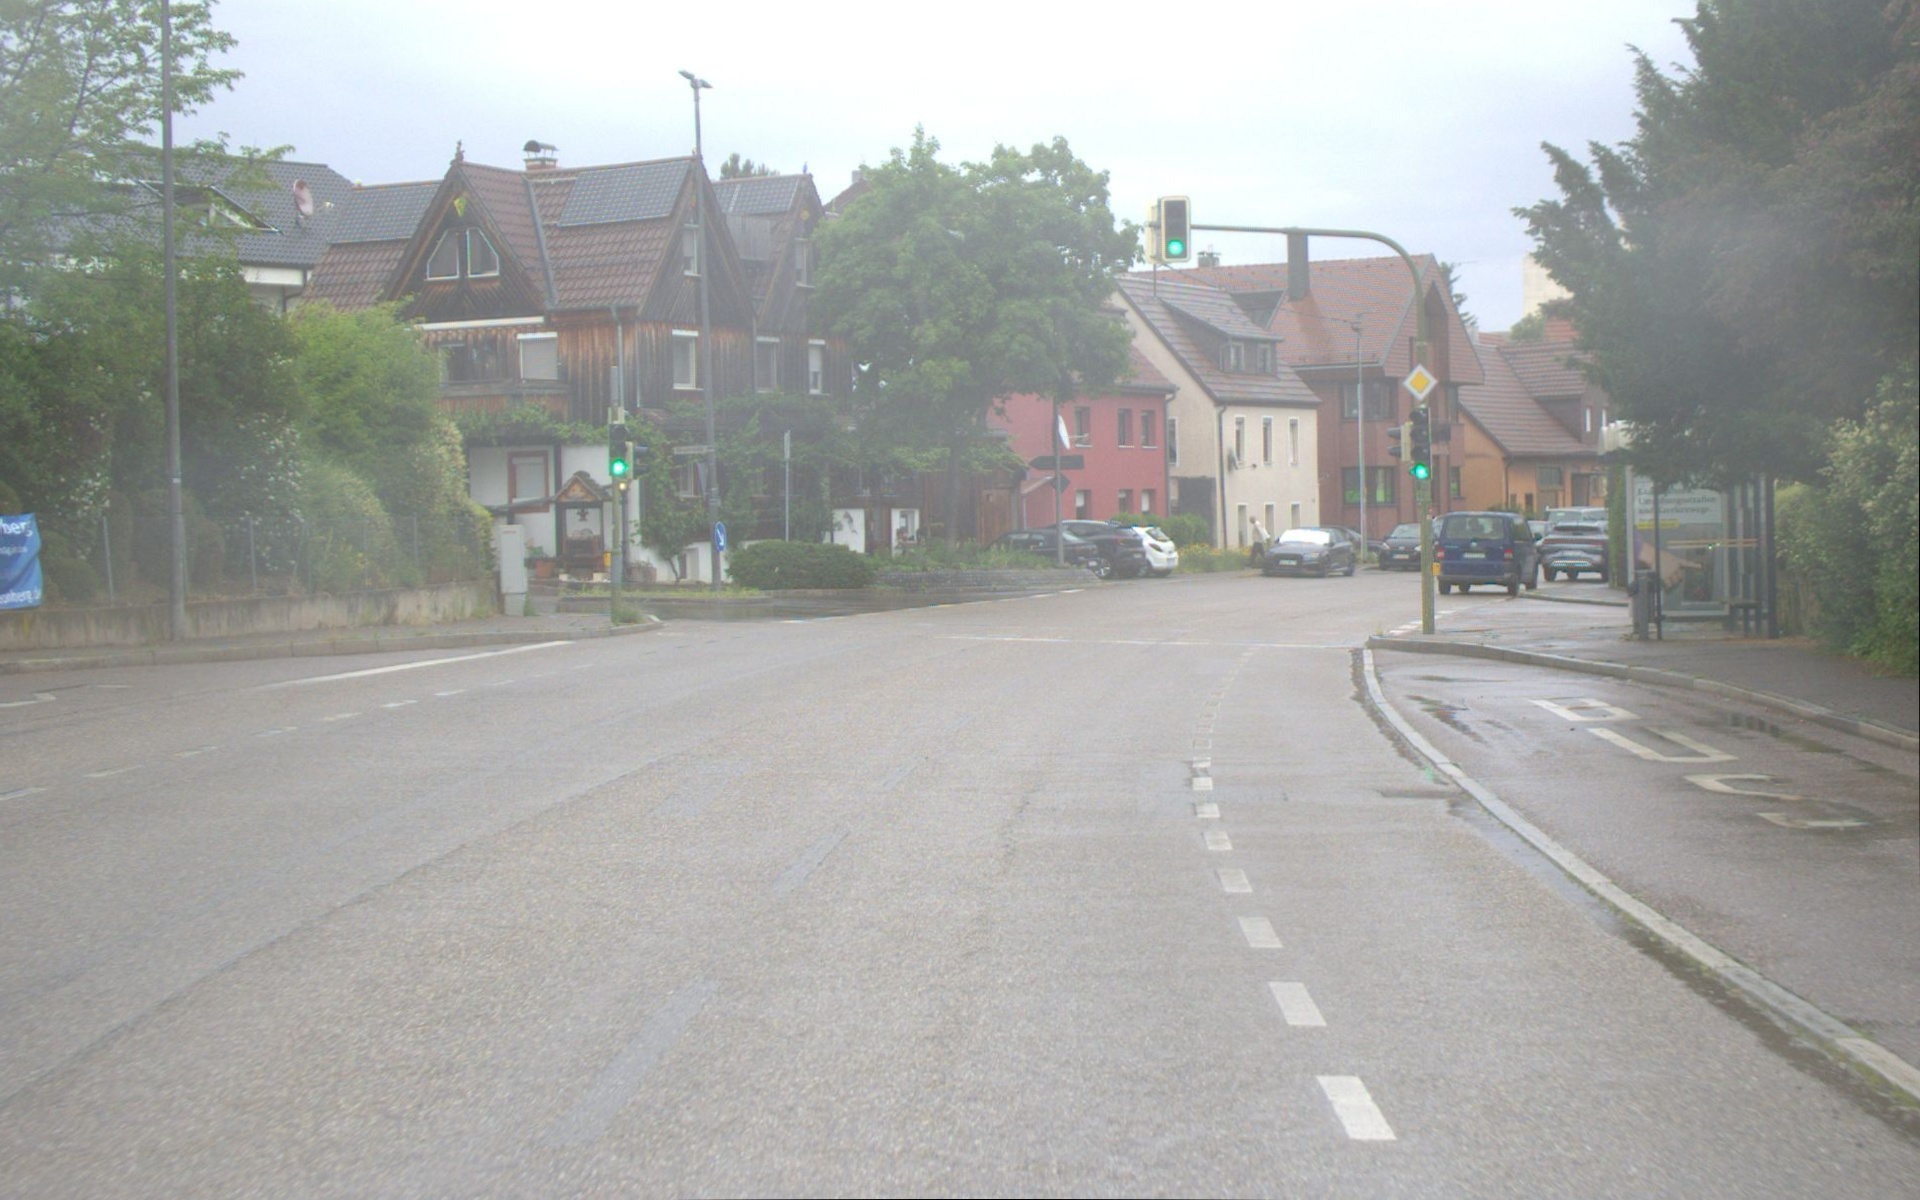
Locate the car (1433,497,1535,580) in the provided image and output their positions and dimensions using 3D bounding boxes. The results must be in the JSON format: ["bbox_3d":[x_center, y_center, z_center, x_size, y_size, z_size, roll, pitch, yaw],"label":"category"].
[{"bbox_3d":[12.562,-1.478,82.196,1.932,1.896,4.790,1,1,14],"label":"car"}]

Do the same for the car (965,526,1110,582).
[{"bbox_3d":[2.043,-1.213,90.488,3.451,1.413,1.630,0,1,26],"label":"car"}]

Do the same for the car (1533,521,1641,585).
[{"bbox_3d":[17.655,-1.343,96.671,1.911,1.711,4.550,2,2,24],"label":"car"}]

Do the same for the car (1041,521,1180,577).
[{"bbox_3d":[4.161,-1.407,95.105,3.466,1.474,1.588,0,1,26],"label":"car"}]

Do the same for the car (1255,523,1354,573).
[{"bbox_3d":[9.830,-1.491,97.899,1.628,1.351,4.106,2,2,23],"label":"car"}]

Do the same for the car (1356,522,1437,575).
[{"bbox_3d":[13.693,-1.633,107.735,1.607,1.612,3.272,0,1,24],"label":"car"}]

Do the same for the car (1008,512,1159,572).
[{"bbox_3d":[3.336,-1.571,92.864,3.581,1.501,1.853,3,2,28],"label":"car"}]
